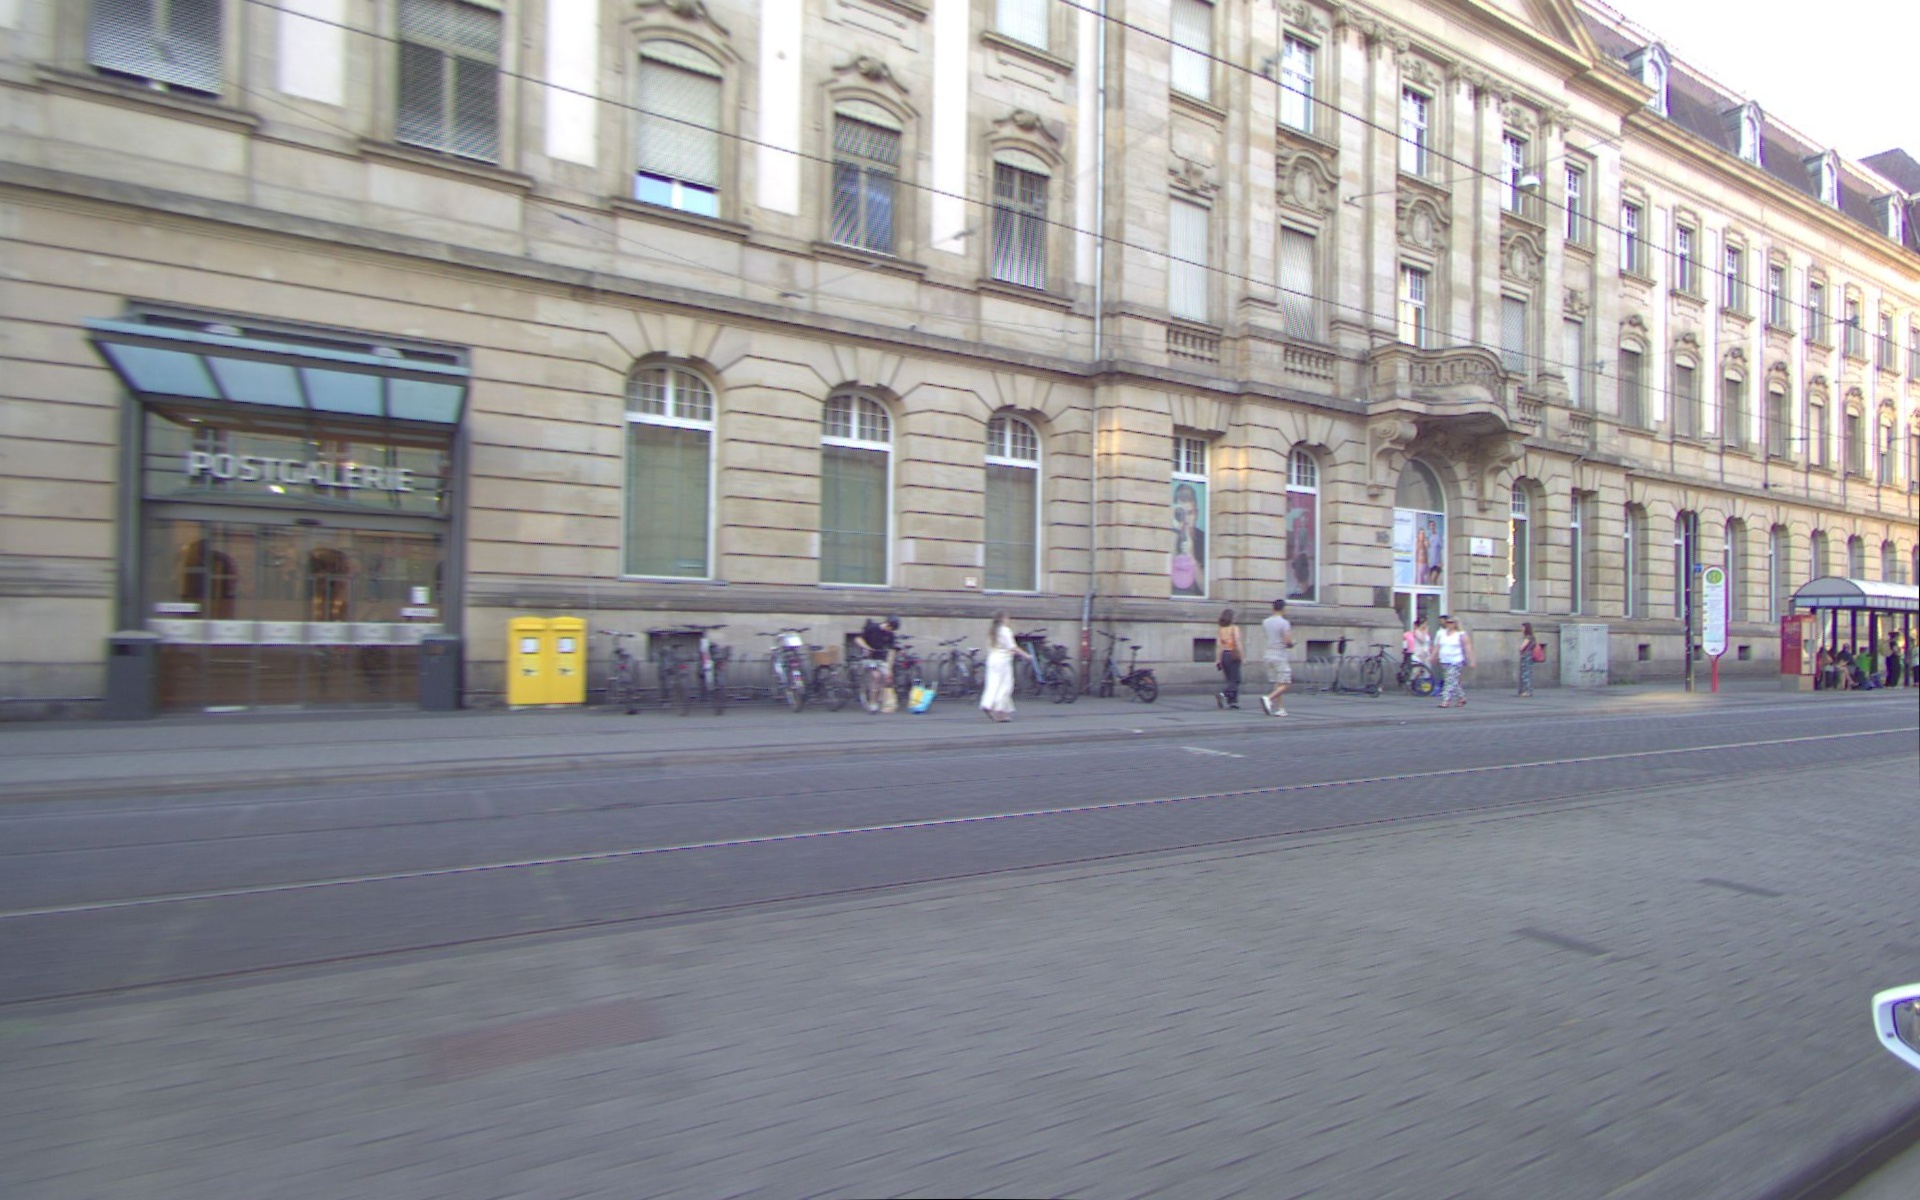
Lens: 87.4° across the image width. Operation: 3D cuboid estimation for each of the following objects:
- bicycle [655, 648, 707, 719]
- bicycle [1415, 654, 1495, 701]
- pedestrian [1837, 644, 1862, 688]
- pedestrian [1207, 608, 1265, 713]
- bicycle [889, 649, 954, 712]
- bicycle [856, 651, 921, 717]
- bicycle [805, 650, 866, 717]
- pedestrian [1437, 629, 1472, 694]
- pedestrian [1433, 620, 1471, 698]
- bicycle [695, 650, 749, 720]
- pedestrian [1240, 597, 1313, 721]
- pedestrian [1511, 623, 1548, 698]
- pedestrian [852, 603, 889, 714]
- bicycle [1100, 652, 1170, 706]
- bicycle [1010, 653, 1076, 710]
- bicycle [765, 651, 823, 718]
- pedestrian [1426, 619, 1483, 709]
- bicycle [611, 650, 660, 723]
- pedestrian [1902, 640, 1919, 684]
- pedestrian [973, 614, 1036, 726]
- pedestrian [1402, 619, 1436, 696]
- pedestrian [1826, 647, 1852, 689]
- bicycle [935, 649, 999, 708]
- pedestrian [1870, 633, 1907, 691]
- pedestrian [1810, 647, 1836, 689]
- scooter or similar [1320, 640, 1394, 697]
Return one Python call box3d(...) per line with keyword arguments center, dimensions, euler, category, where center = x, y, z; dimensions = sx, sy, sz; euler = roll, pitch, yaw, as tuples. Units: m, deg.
box3d(center=(-4.011, 1.174, 14.381), dimensions=(0.445, 0.885, 1.571), euler=(2, -1, -25), category="bicycle")
box3d(center=(10.372, 1.615, 21.101), dimensions=(0.445, 0.885, 1.571), euler=(2, -1, -25), category="bicycle")
box3d(center=(24.800, 1.832, 28.010), dimensions=(0.424, 1.216, 0.363), euler=(2, -1, -24), category="pedestrian")
box3d(center=(4.688, 1.017, 17.119), dimensions=(0.799, 1.734, 0.695), euler=(1, -1, 2), category="pedestrian")
box3d(center=(-0.630, 1.268, 16.064), dimensions=(0.445, 0.885, 1.571), euler=(2, -1, -25), category="bicycle")
box3d(center=(-1.111, 1.273, 15.428), dimensions=(0.445, 0.885, 1.571), euler=(2, -1, -25), category="bicycle")
box3d(center=(-1.926, 1.253, 15.342), dimensions=(0.445, 0.885, 1.571), euler=(2, -1, -25), category="bicycle")
box3d(center=(11.300, 1.398, 22.973), dimensions=(0.560, 1.459, 0.441), euler=(2, -1, 6), category="pedestrian")
box3d(center=(10.713, 1.279, 21.878), dimensions=(0.555, 1.664, 0.474), euler=(2, -1, -26), category="pedestrian")
box3d(center=(-3.484, 1.214, 14.621), dimensions=(0.445, 0.885, 1.571), euler=(2, -1, -25), category="bicycle")
box3d(center=(4.809, 0.885, 15.275), dimensions=(0.802, 1.837, 0.691), euler=(1, -1, -19), category="pedestrian")
box3d(center=(12.581, 1.323, 22.191), dimensions=(0.432, 1.626, 0.571), euler=(2, -1, -6), category="pedestrian")
box3d(center=(-1.359, 0.886, 15.237), dimensions=(0.424, 1.655, 0.363), euler=(2, -1, -24), category="pedestrian")
box3d(center=(3.216, 1.444, 18.588), dimensions=(0.445, 0.885, 1.571), euler=(2, -1, -25), category="bicycle")
box3d(center=(1.458, 1.434, 17.939), dimensions=(0.445, 0.885, 1.571), euler=(2, -1, -25), category="bicycle")
box3d(center=(-2.519, 1.247, 15.115), dimensions=(0.445, 0.885, 1.571), euler=(2, -1, -25), category="bicycle")
box3d(center=(8.857, 1.132, 18.004), dimensions=(0.672, 1.582, 0.656), euler=(2, -1, -30), category="pedestrian")
box3d(center=(-4.545, 1.178, 14.027), dimensions=(0.445, 0.885, 1.571), euler=(2, -1, -25), category="bicycle")
box3d(center=(29.409, 1.903, 30.852), dimensions=(0.630, 1.345, 0.516), euler=(2, -2, -27), category="pedestrian")
box3d(center=(0.613, 0.939, 13.793), dimensions=(0.550, 1.486, 0.688), euler=(2, -1, -33), category="pedestrian")
box3d(center=(10.085, 1.268, 22.058), dimensions=(0.597, 1.664, 0.334), euler=(2, -1, -23), category="pedestrian")
box3d(center=(24.102, 1.871, 27.543), dimensions=(0.424, 1.117, 0.363), euler=(2, -1, -24), category="pedestrian")
box3d(center=(0.102, 1.318, 17.083), dimensions=(0.445, 0.885, 1.571), euler=(2, -1, -25), category="bicycle")
box3d(center=(27.260, 1.808, 29.497), dimensions=(0.626, 1.672, 0.519), euler=(2, -2, -8), category="pedestrian")
box3d(center=(23.529, 1.849, 27.383), dimensions=(0.424, 1.117, 0.363), euler=(2, -1, -24), category="pedestrian")
box3d(center=(8.259, 1.409, 20.969), dimensions=(0.445, 1.082, 1.542), euler=(2, -1, -25), category="scooter or similar")
